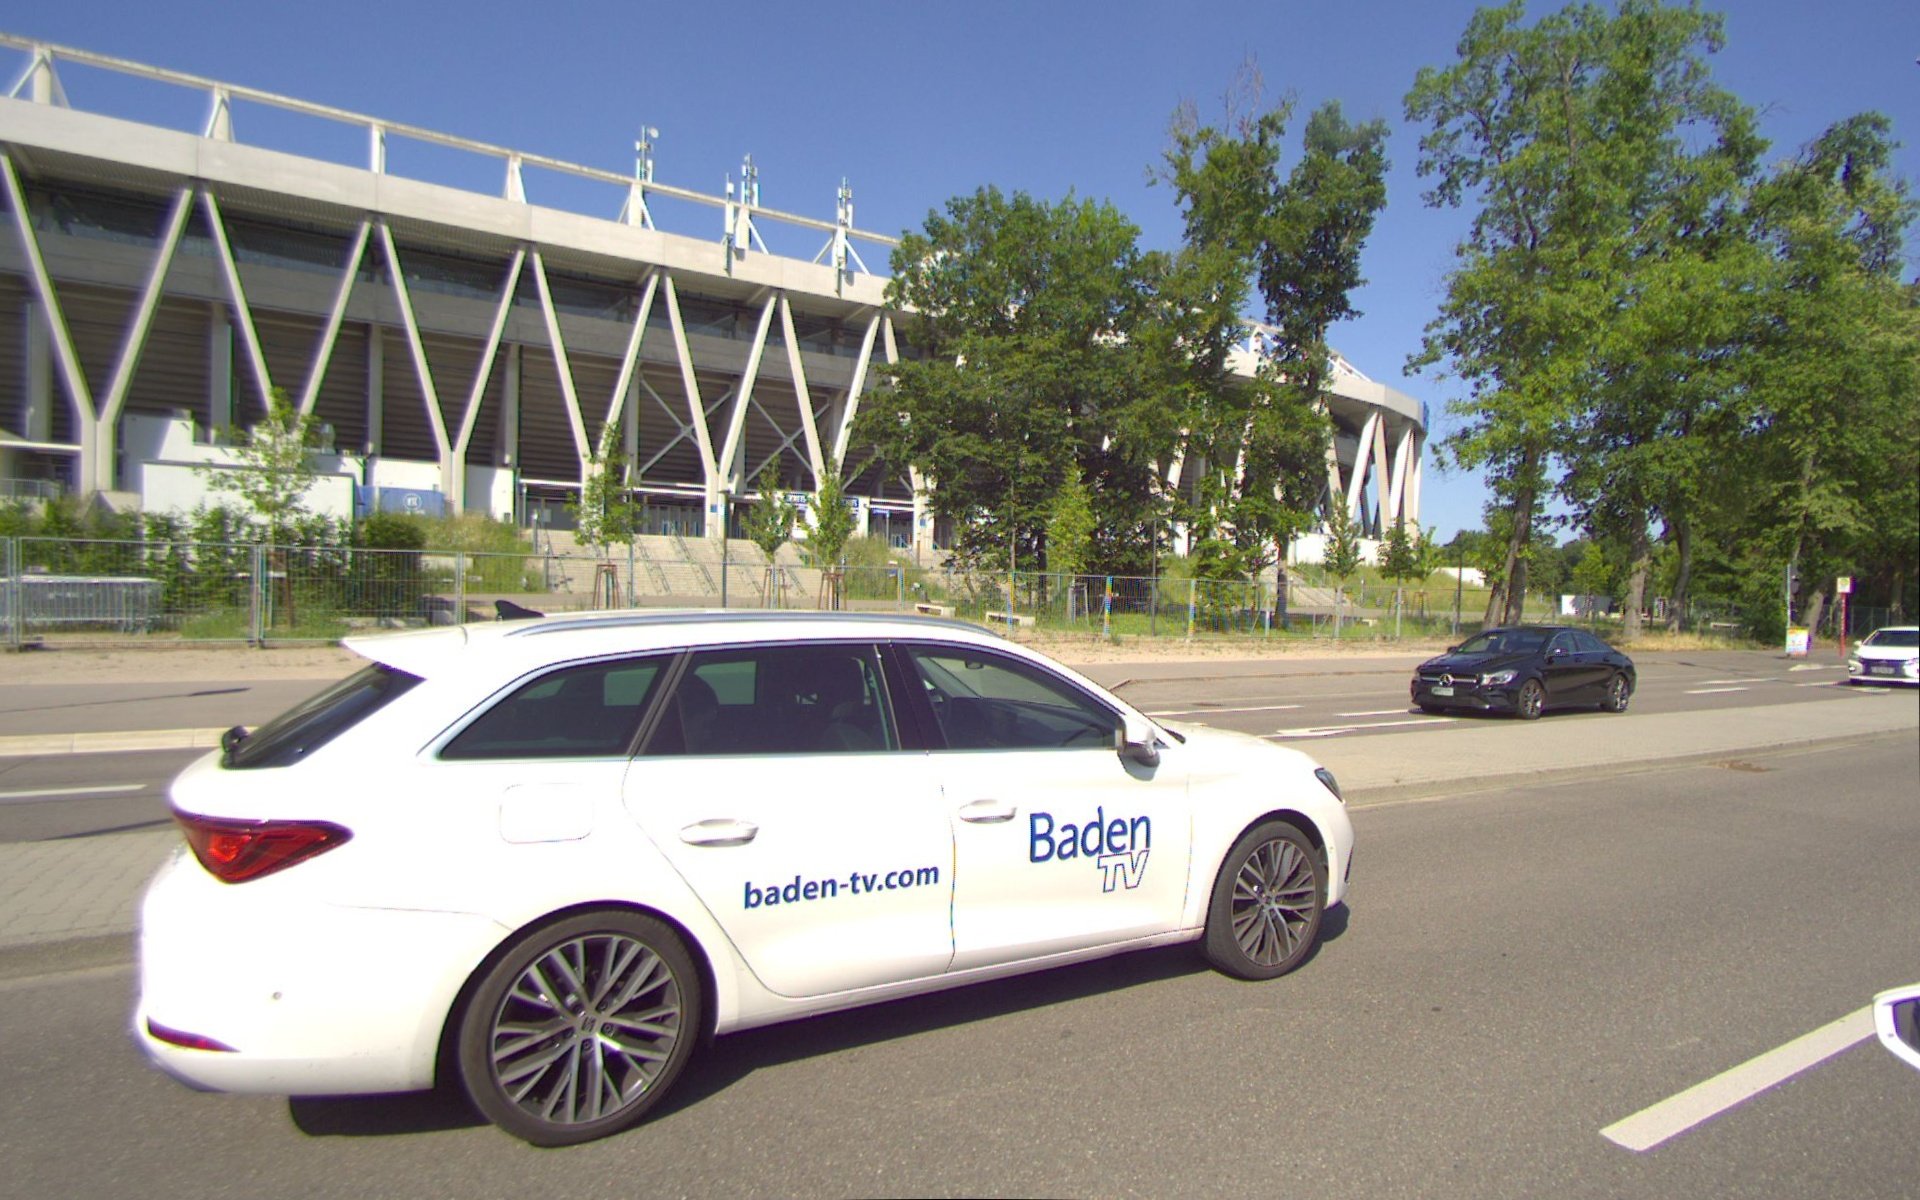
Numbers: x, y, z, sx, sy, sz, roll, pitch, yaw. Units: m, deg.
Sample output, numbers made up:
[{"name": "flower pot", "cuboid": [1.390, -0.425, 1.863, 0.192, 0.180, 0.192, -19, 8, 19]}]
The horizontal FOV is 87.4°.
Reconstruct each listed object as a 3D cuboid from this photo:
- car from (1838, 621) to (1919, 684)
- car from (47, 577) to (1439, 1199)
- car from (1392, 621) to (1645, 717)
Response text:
[{"name": "car", "cuboid": [23.896, 1.288, 25.328, 3.757, 1.486, 1.614, 1, -2, -32]}, {"name": "car", "cuboid": [-0.309, 0.706, 4.027, 4.664, 1.446, 1.717, 1, 0, -30]}, {"name": "car", "cuboid": [9.223, 1.064, 16.538, 4.112, 1.406, 1.802, 1, -2, -30]}]
